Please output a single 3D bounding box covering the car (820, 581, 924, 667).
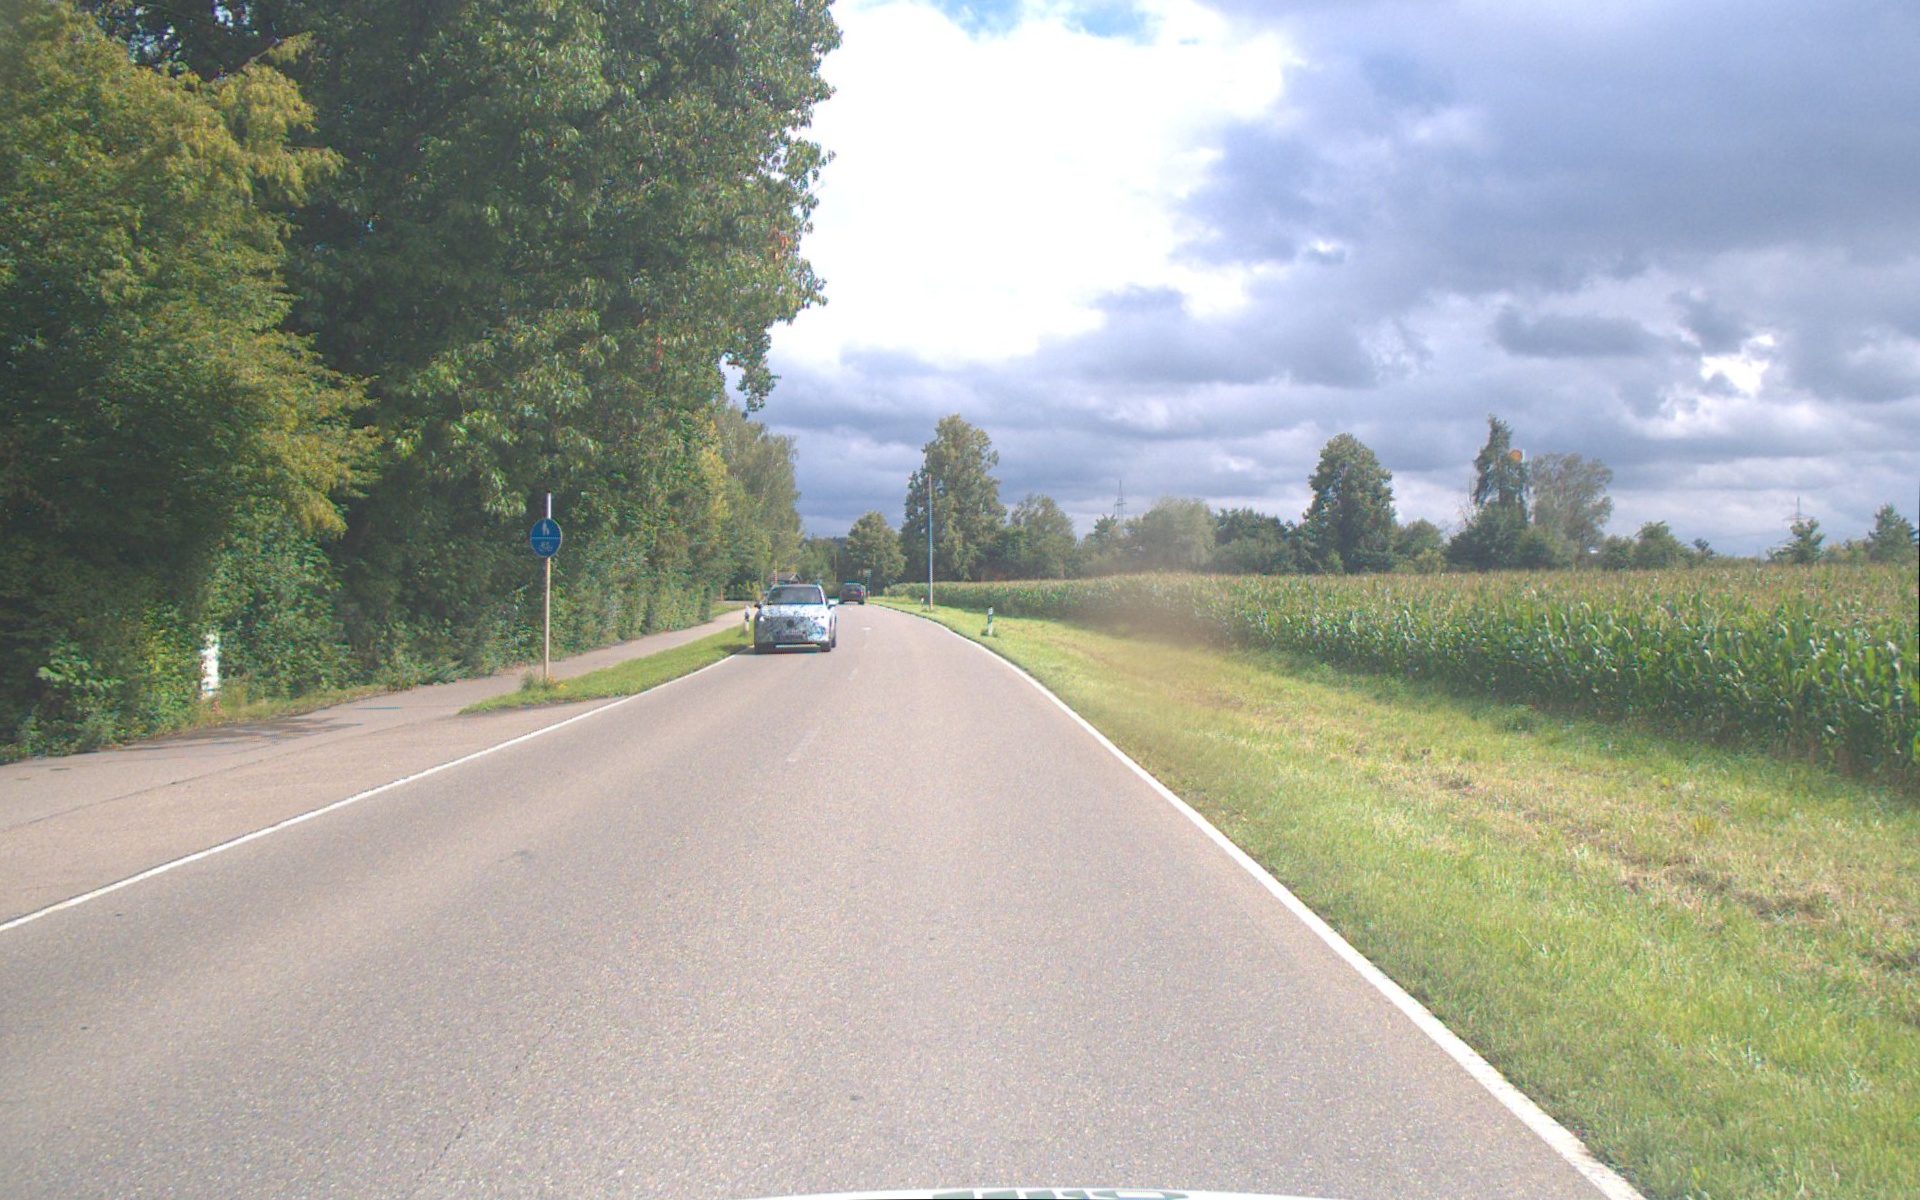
[{"bbox_3d":[-2.305,0.585,42.391,1.959,2.049,3.987,2,0,-13],"label":"car"}]

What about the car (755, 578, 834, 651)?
[{"bbox_3d":[-4.080,0.320,41.374,1.775,1.679,4.289,-2,1,-4],"label":"car"}]

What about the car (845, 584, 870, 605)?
[{"bbox_3d":[-8.236,-0.437,132.857,1.954,1.612,3.996,2,0,-4],"label":"car"}]
